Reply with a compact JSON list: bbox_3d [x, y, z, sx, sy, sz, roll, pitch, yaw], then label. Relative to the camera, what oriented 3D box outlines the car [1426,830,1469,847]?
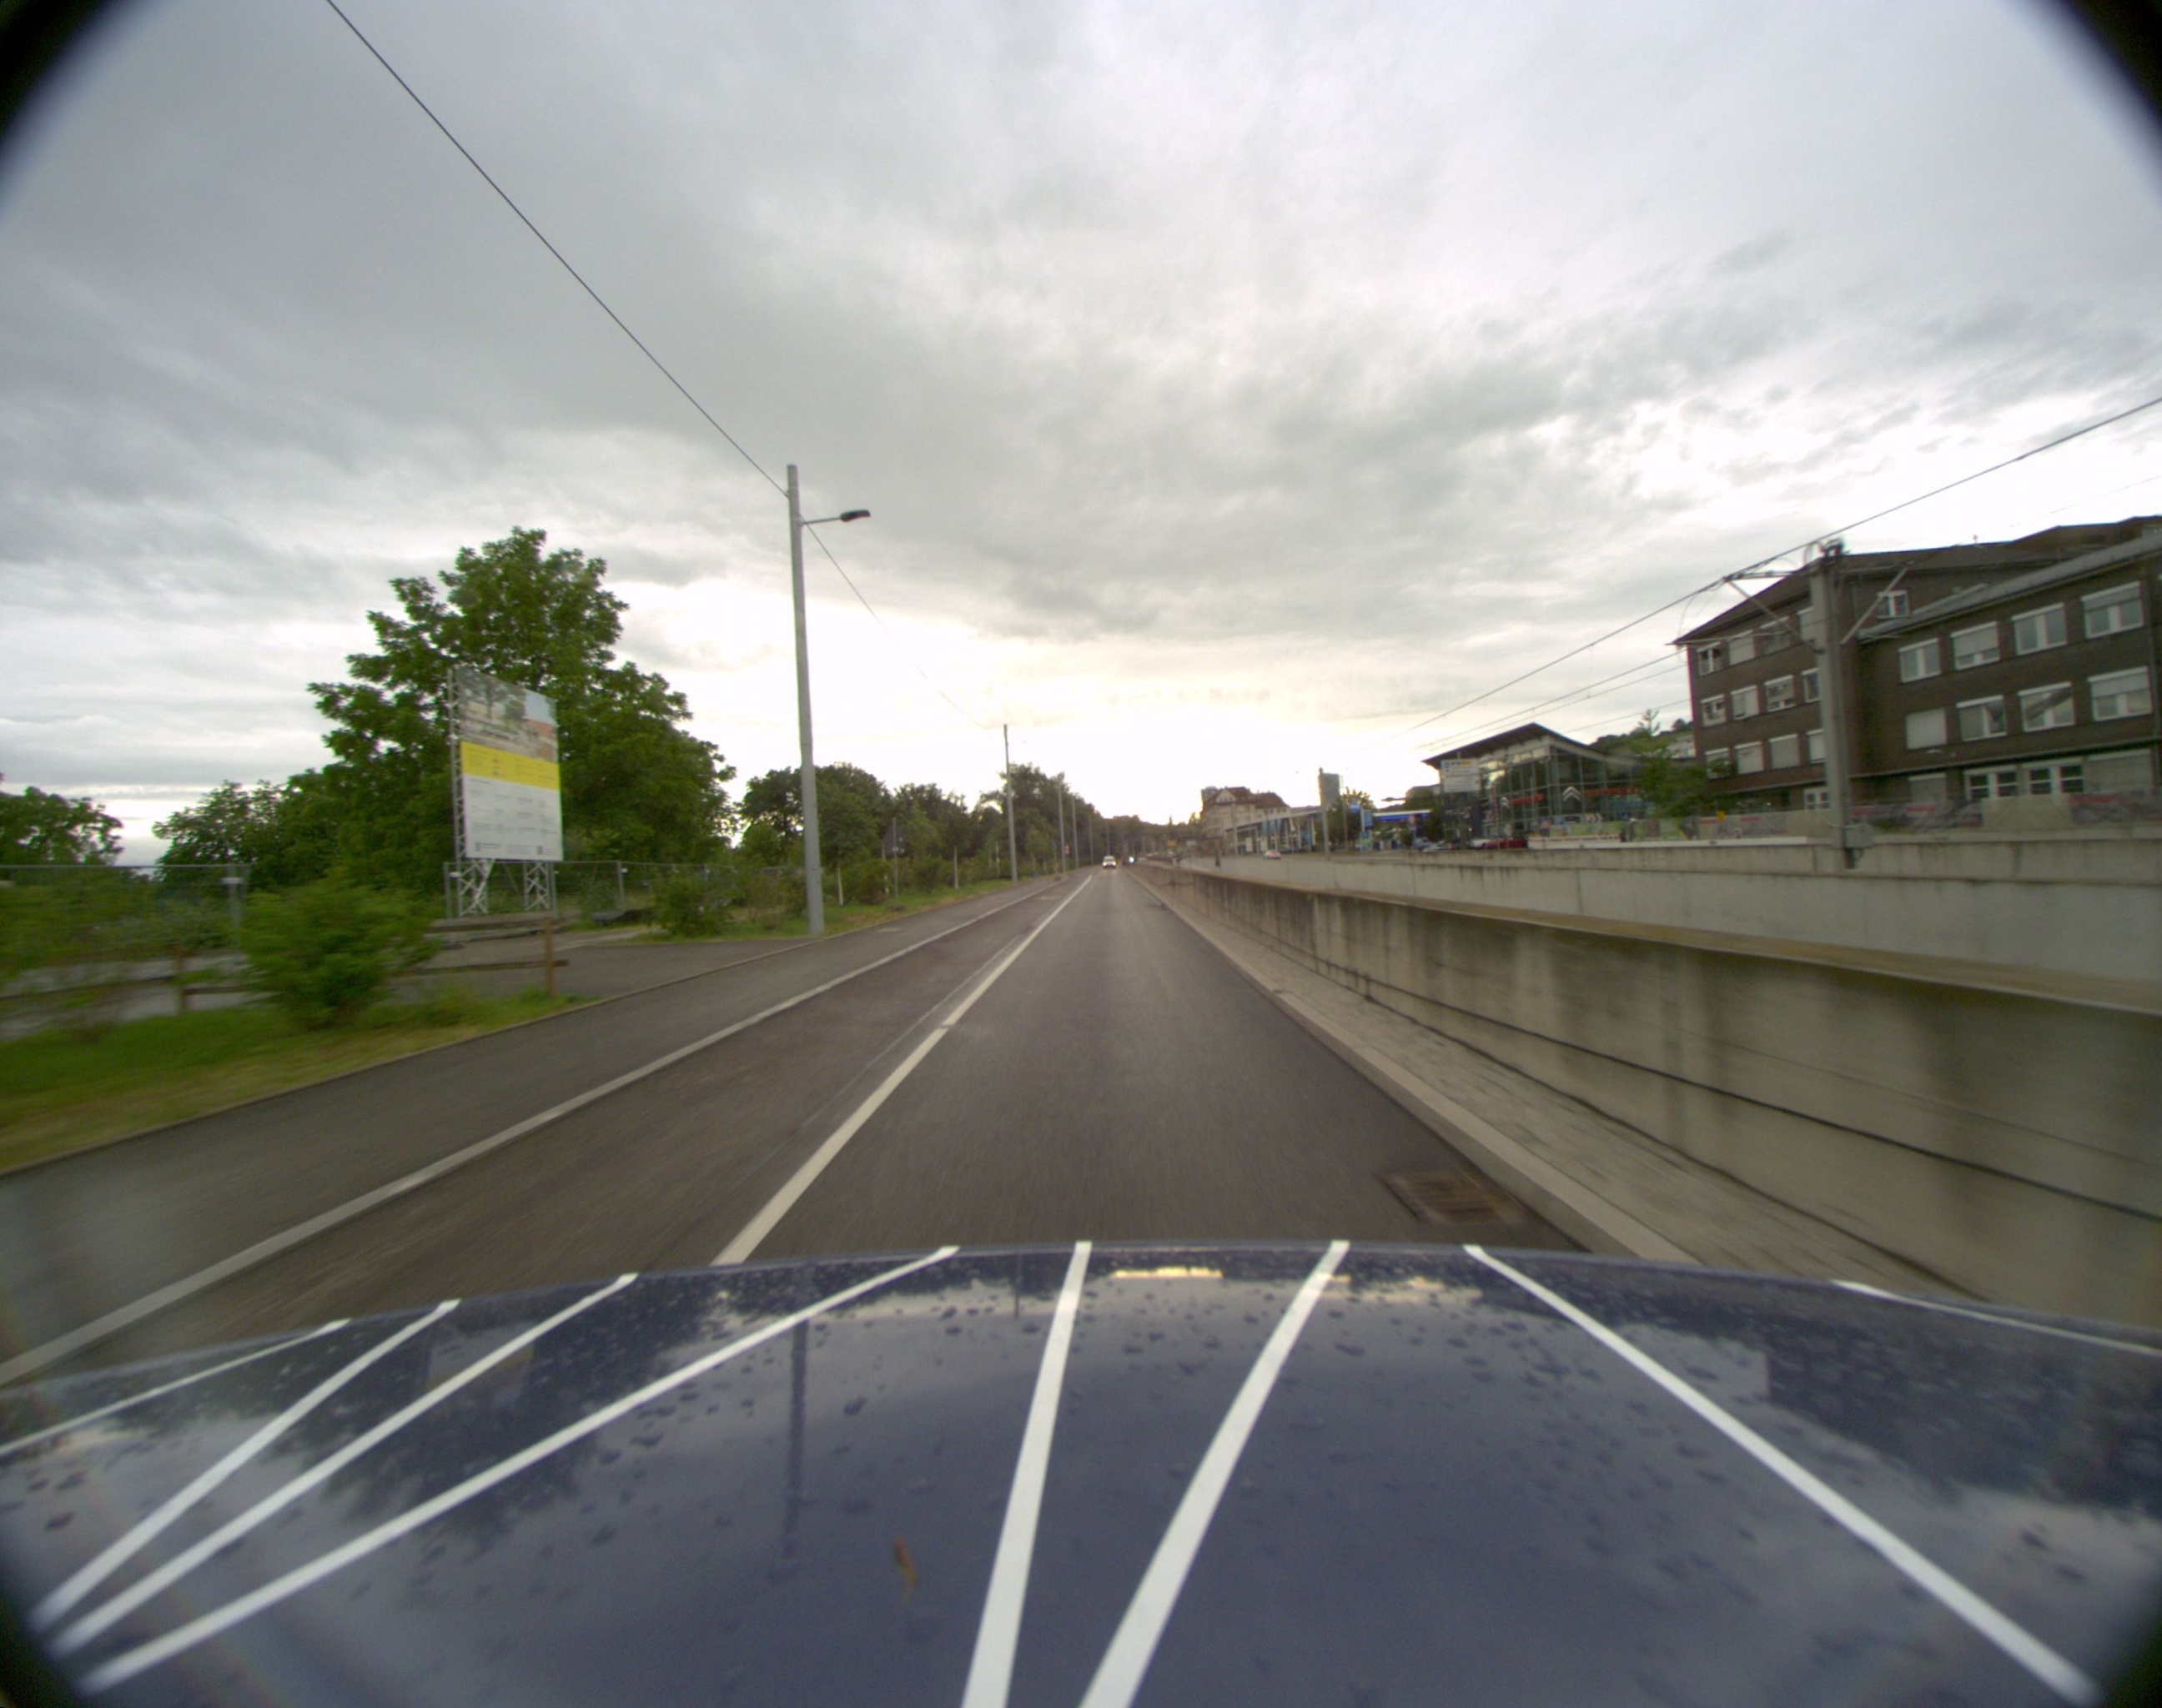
[{"bbox_3d":[43.445,-1.786,90.081,3.996,1.761,2.000,-3,0,2],"label":"car"}]

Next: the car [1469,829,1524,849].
[{"bbox_3d":[43.504,-1.548,79.590,4.576,1.750,2.000,-3,0,1],"label":"car"}]

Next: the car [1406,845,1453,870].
[{"bbox_3d":[29.074,0.290,63.573,1.999,2.002,3.999,-2,0,-1],"label":"car"}]

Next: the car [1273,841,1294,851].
[{"bbox_3d":[43.276,-1.653,162.324,3.996,2.002,2.000,-3,0,3],"label":"car"}]

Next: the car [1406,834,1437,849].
[{"bbox_3d":[42.490,-1.556,94.896,1.998,1.761,4.000,-3,0,0],"label":"car"}]

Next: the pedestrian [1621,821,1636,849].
[{"bbox_3d":[39.315,-1.352,54.573,0.581,2.002,0.728,-3,1,-35],"label":"pedestrian"}]

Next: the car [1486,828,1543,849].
[{"bbox_3d":[43.951,-1.557,77.110,4.576,1.750,2.000,-3,0,1],"label":"car"}]

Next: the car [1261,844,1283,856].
[{"bbox_3d":[29.973,-0.562,119.416,2.119,1.706,4.580,-3,0,0],"label":"car"}]

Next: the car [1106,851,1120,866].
[{"bbox_3d":[4.688,0.661,112.177,1.998,2.002,4.000,-2,0,2],"label":"car"}]
